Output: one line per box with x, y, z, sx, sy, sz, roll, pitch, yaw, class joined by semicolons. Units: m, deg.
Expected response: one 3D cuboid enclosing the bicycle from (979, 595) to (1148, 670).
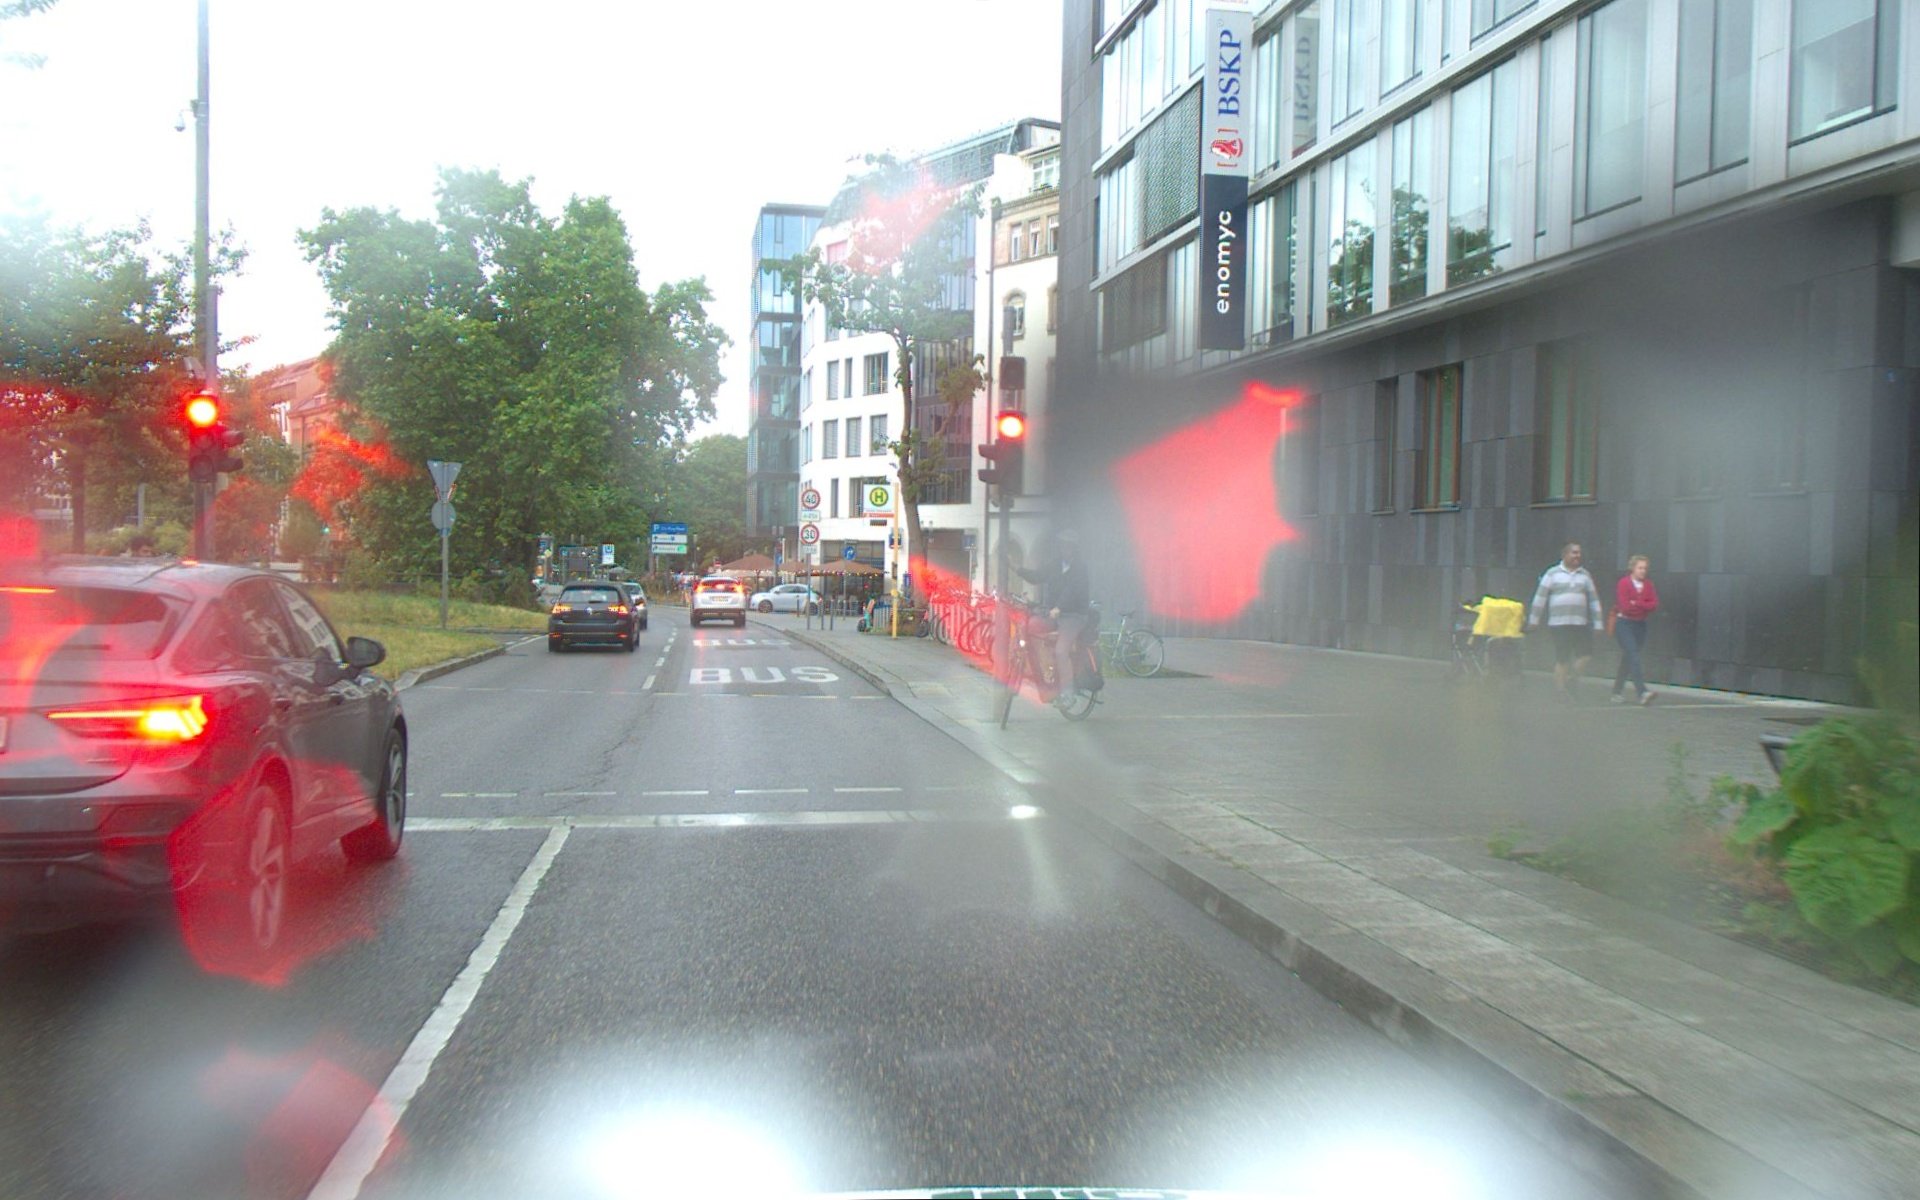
1.585;0.493;25.322;2.490;1.106;0.676;1;0;-11;bicycle

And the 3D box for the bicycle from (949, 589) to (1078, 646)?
1.059;0.346;32.944;2.490;1.106;0.676;0;0;-11;bicycle

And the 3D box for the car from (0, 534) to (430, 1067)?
-3.546;0.561;7.129;1.814;1.644;4.242;2;1;-10;car

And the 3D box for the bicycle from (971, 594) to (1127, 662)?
1.463;0.457;27.347;2.490;1.106;0.676;0;0;-11;bicycle

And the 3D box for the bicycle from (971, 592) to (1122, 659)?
1.475;0.428;28.207;2.490;1.106;0.676;0;0;-11;bicycle

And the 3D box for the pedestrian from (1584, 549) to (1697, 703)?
7.939;0.284;19.329;0.705;1.720;1.097;-2;1;-11;pedestrian

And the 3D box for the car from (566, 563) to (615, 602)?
-16.694;-0.788;74.569;1.914;1.675;3.983;1;1;-16;car

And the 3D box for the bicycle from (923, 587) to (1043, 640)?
0.491;0.289;35.376;2.490;1.106;0.676;0;0;-11;bicycle

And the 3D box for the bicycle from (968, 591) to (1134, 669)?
1.430;0.465;26.113;2.490;1.106;0.676;3;0;-11;bicycle

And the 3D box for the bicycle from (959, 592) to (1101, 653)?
1.258;0.408;29.868;2.490;1.078;0.676;0;0;-11;bicycle

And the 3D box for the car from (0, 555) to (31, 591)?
-41.600;-1.202;71.599;1.779;1.512;3.975;3;0;-21;car

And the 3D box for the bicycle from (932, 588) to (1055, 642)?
0.701;0.311;34.505;2.490;1.106;0.676;0;0;-11;bicycle

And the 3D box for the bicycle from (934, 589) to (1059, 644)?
0.741;0.334;33.754;2.490;1.106;0.676;0;0;-11;bicycle

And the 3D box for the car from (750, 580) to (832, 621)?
-8.531;0.006;83.147;3.914;1.675;1.996;5;0;-8;car

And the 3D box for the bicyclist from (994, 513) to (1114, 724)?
0.988;0.182;17.251;0.749;2.119;1.079;0;0;42;bicyclist

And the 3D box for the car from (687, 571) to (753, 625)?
-8.289;-0.098;56.911;2.139;1.730;3.991;1;1;-10;car

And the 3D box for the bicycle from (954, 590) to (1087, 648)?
1.168;0.357;31.973;2.490;1.106;0.676;0;0;-11;bicycle

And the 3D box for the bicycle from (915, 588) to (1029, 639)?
0.264;0.296;36.828;2.490;1.106;0.626;0;0;-11;bicycle

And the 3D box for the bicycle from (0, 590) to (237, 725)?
-8.245;0.539;16.032;2.017;1.133;1.012;3;0;14;bicycle

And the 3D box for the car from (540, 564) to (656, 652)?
-7.679;0.129;35.469;2.122;1.735;4.544;1;1;-9;car

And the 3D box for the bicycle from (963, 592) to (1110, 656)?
1.339;0.415;29.006;2.490;1.106;0.676;0;0;-11;bicycle

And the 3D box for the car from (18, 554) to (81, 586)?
-46.694;-1.510;84.898;1.775;1.512;4.366;3;0;-15;car

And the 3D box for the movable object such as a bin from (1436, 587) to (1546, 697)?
6.562;0.495;20.519;0.717;1.286;1.442;-2;1;-9;movable object such as a bin

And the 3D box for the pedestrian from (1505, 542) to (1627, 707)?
6.976;0.259;19.086;0.884;1.823;1.044;-2;1;-11;pedestrian

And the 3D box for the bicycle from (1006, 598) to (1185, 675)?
1.954;0.519;23.878;2.490;1.075;0.676;0;0;-11;bicycle

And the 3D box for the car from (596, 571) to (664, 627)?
-10.487;-0.057;52.856;1.909;1.675;4.236;1;1;-9;car

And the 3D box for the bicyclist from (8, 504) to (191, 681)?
-8.349;-0.068;16.083;1.108;1.610;1.015;3;0;15;bicyclist

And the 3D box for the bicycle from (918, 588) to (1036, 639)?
0.371;0.294;36.114;2.490;1.106;0.676;0;0;-11;bicycle

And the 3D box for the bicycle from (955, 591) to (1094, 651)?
1.197;0.384;30.775;2.490;1.106;0.676;0;0;-11;bicycle

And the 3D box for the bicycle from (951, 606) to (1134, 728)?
0.883;0.656;17.122;0.749;1.165;2.120;0;0;41;bicycle
